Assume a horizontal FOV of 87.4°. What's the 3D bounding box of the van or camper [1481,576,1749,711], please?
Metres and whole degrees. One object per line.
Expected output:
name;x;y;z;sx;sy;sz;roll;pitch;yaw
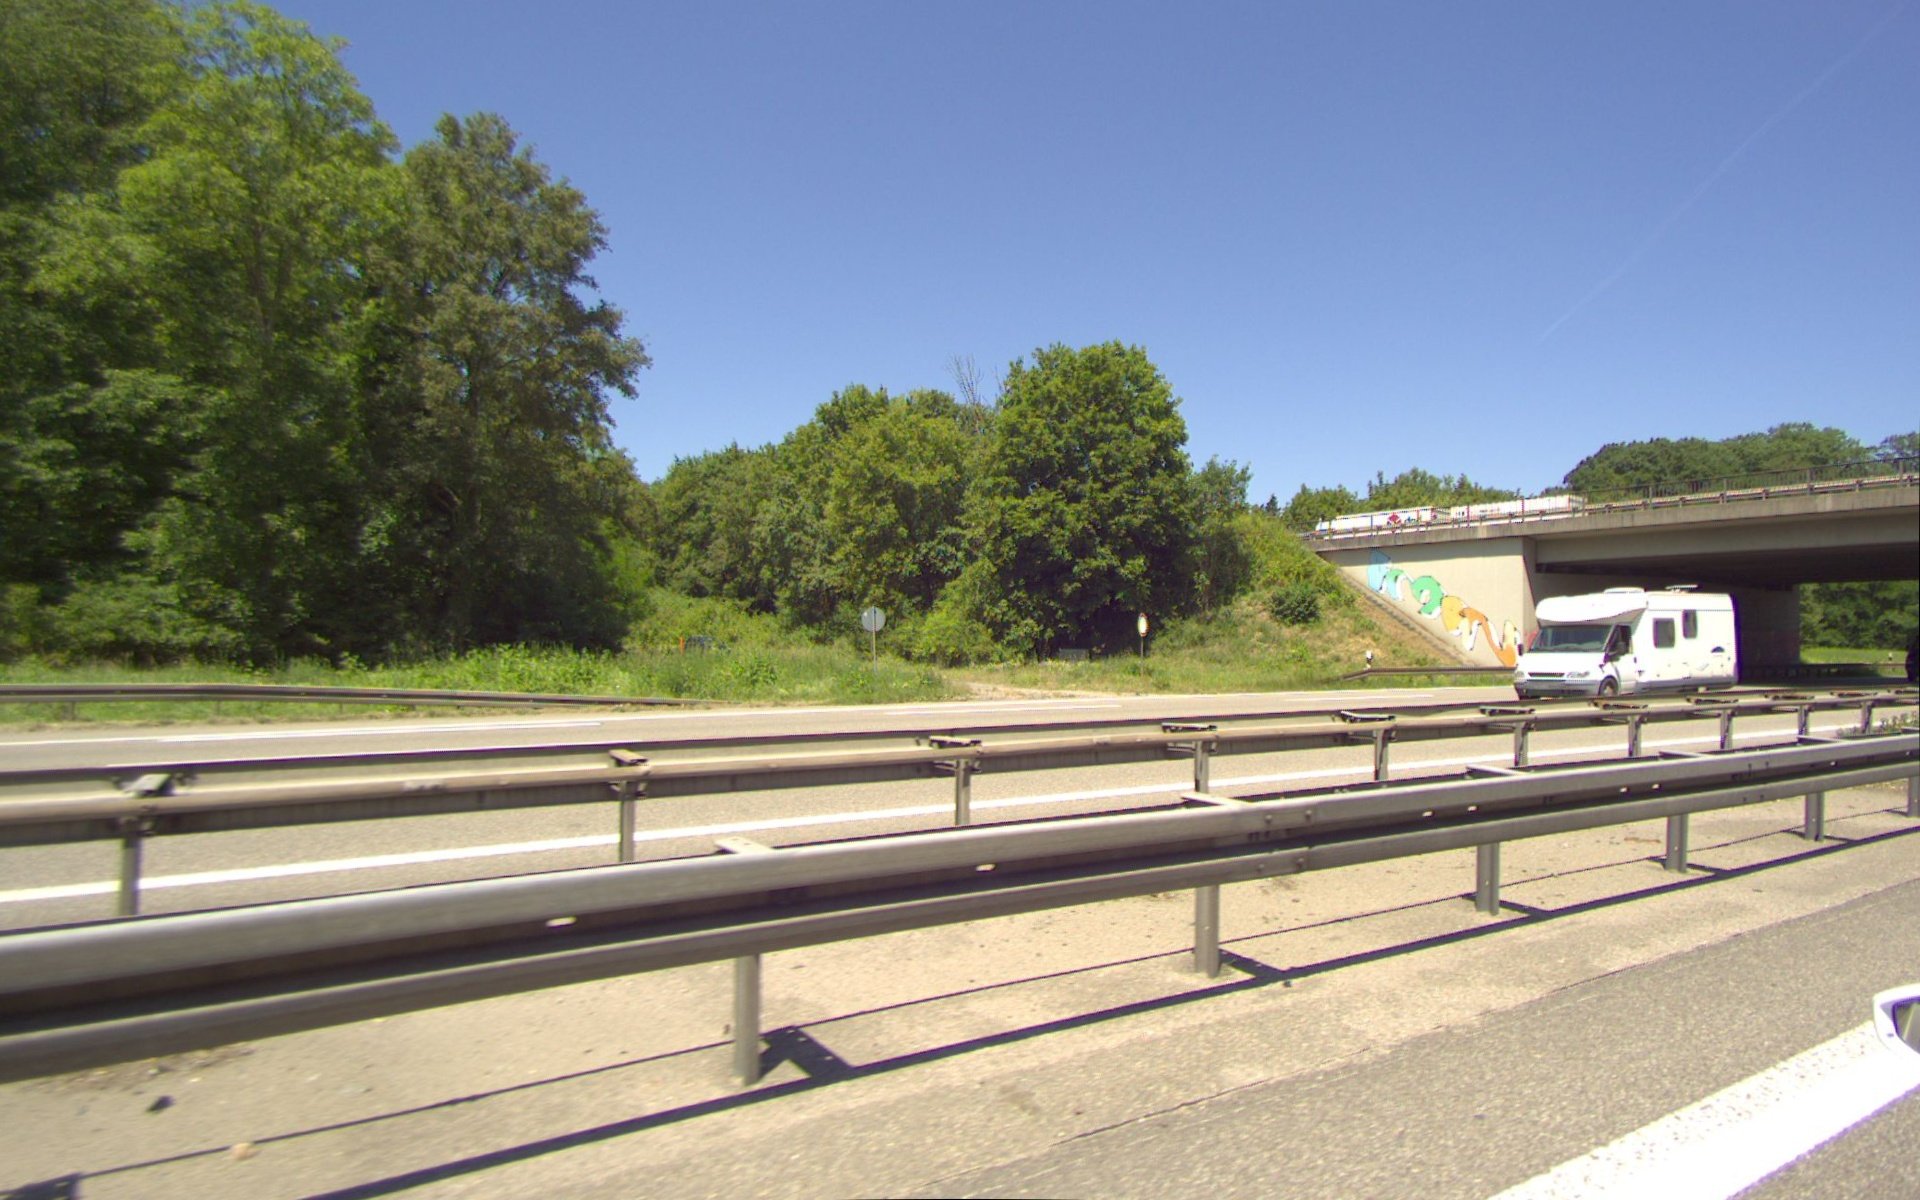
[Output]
van or camper;16.237;1.040;24.749;7.149;2.945;2.580;2;0;-30

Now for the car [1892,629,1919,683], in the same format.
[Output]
car;46.426;2.661;47.457;5.670;2.431;2.078;2;0;-32

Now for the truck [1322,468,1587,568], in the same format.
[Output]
truck;32.590;-5.163;67.726;3.145;5.639;16.343;2;0;-36
